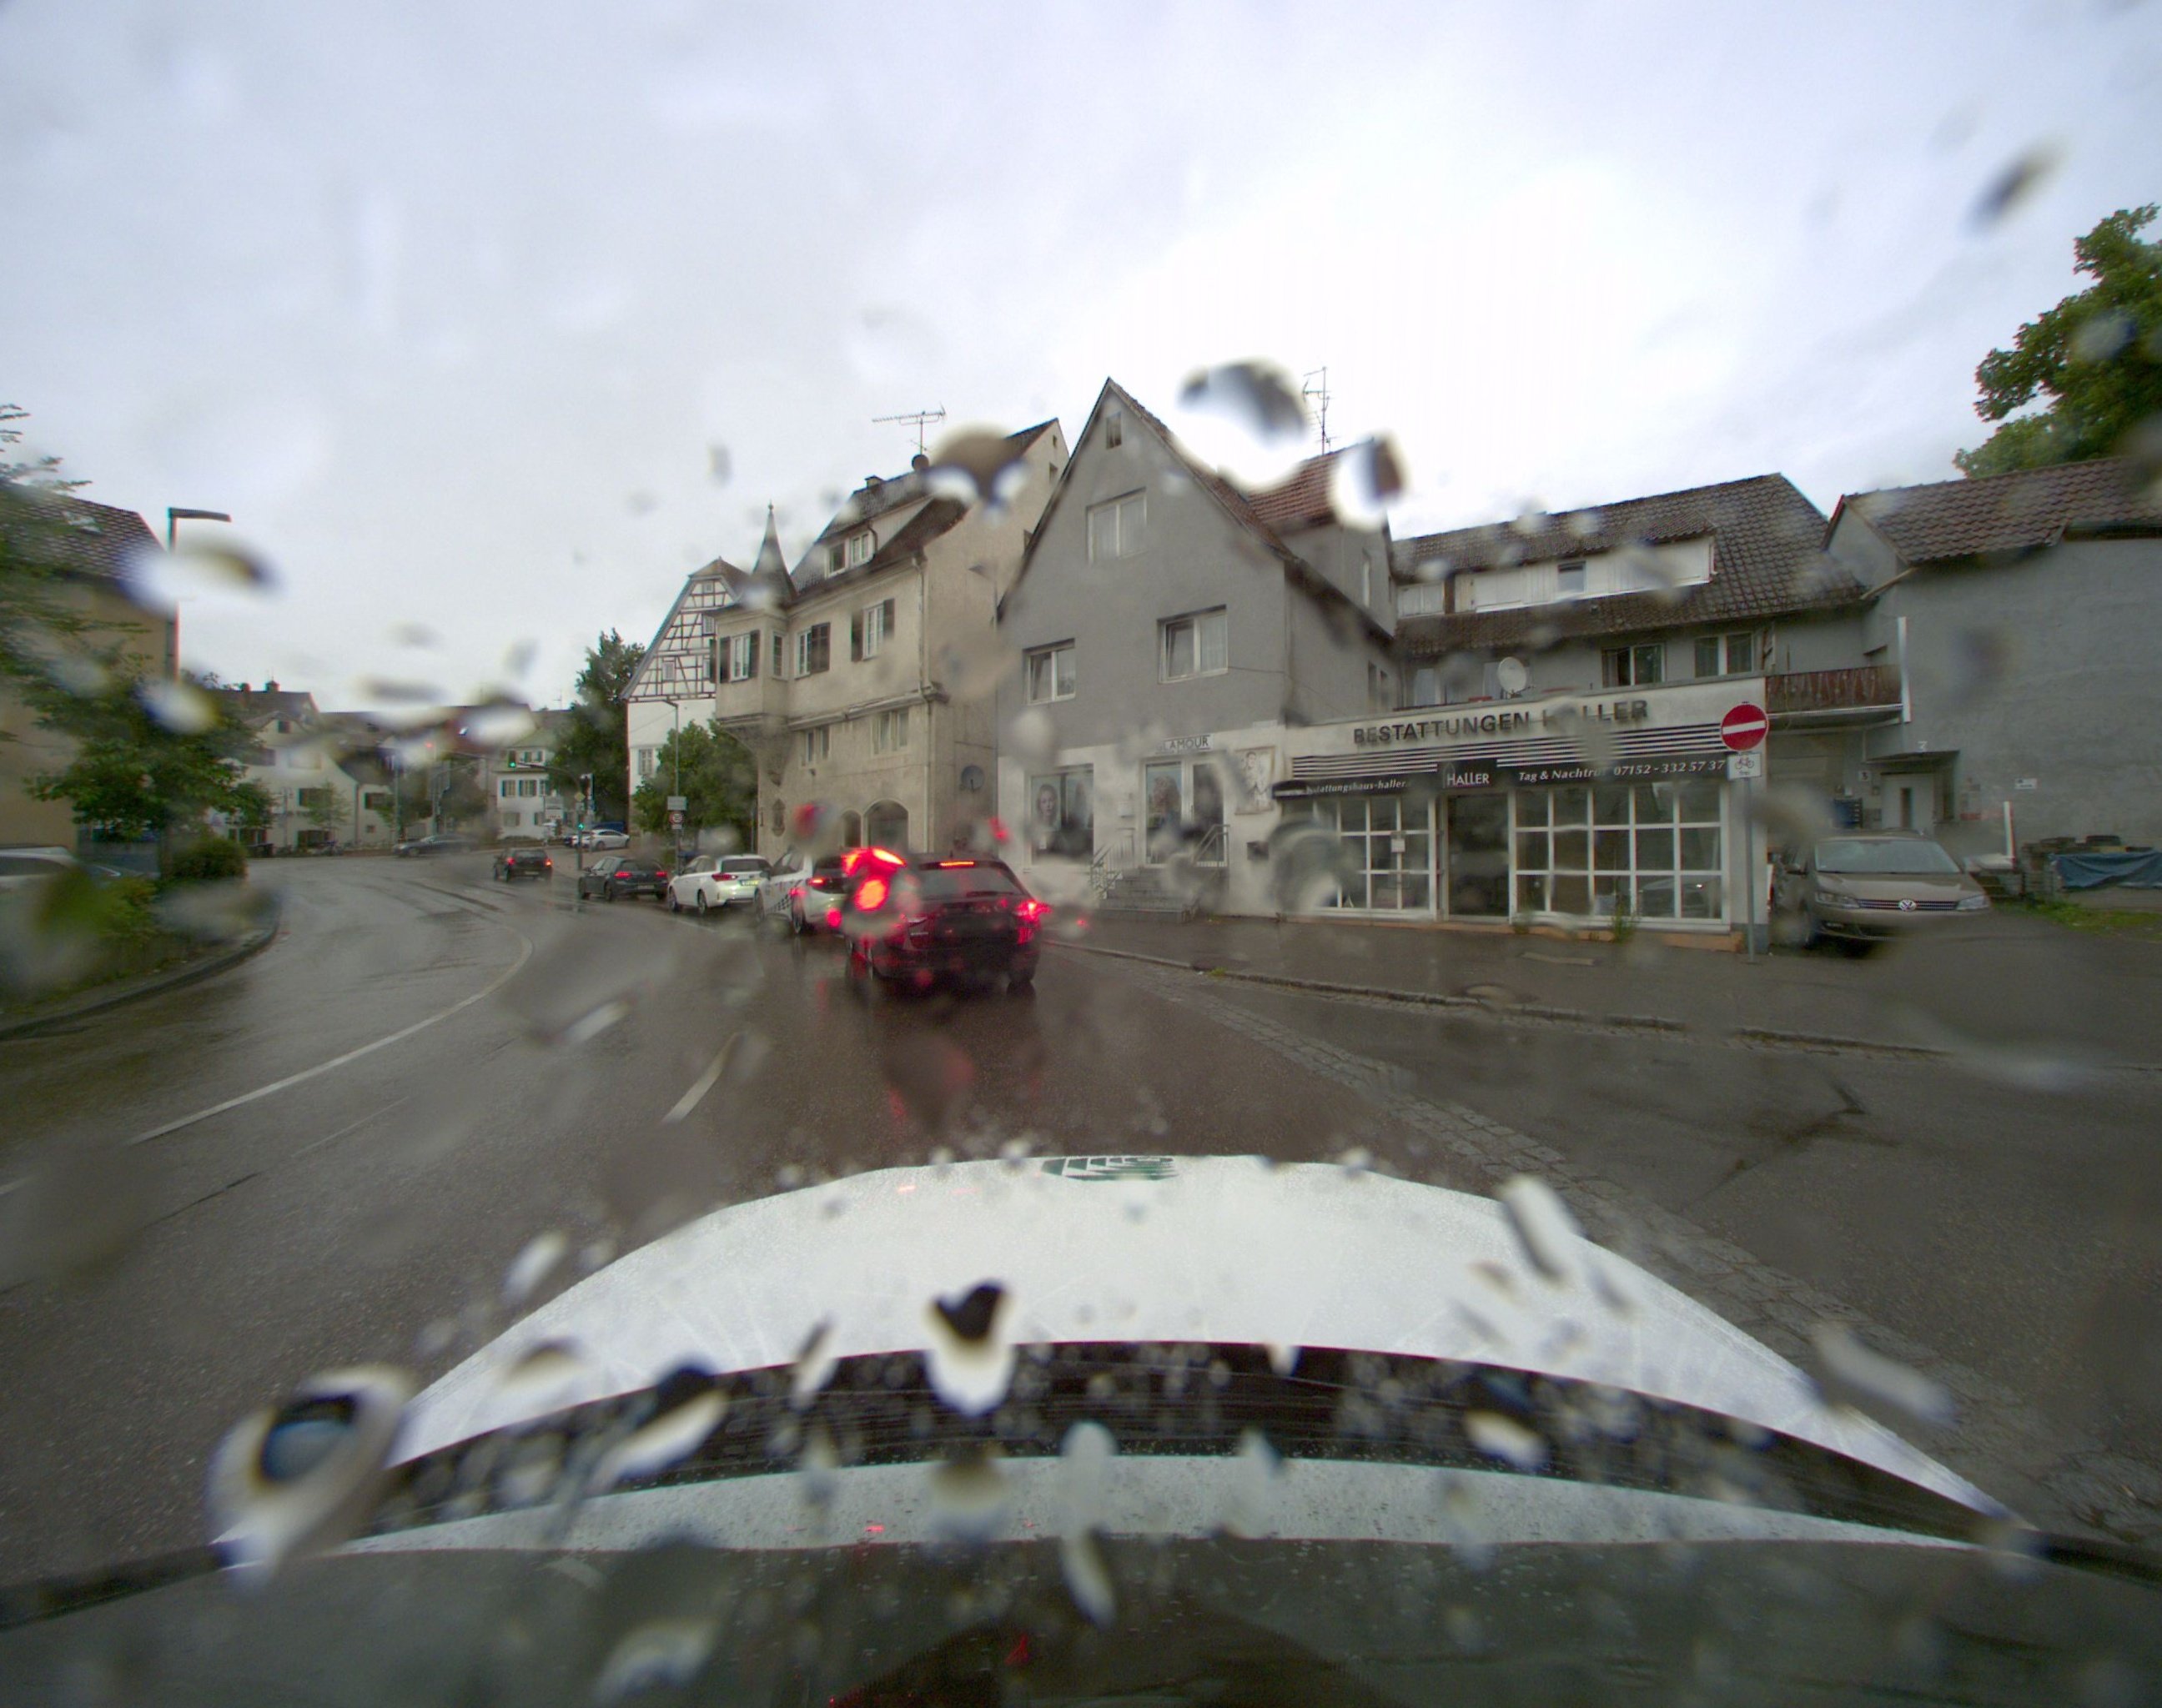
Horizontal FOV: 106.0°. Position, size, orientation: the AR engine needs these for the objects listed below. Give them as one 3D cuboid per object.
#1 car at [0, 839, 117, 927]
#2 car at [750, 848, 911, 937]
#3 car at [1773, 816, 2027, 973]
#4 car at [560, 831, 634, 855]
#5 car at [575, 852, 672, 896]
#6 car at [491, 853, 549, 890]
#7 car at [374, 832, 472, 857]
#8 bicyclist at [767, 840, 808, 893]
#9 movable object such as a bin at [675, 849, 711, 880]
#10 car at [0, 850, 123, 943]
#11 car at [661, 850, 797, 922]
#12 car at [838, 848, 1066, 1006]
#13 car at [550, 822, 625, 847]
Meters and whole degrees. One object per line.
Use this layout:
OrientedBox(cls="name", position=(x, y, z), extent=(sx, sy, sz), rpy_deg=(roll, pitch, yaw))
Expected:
OrientedBox(cls="car", position=(-26.120, 0.804, 18.507), extent=(1.938, 1.824, 4.966), rpy_deg=(2, 7, 26))
OrientedBox(cls="car", position=(-4.953, 0.630, 15.751), extent=(1.870, 1.473, 3.957), rpy_deg=(-1, 0, -35))
OrientedBox(cls="car", position=(11.653, 0.416, 11.936), extent=(1.974, 1.771, 4.027), rpy_deg=(0, 4, 36))
OrientedBox(cls="car", position=(-33.656, -0.747, 56.779), extent=(1.980, 1.586, 4.325), rpy_deg=(0, 0, 12))
OrientedBox(cls="car", position=(-15.242, 0.609, 27.046), extent=(2.011, 1.302, 3.952), rpy_deg=(-1, 0, -41))
OrientedBox(cls="car", position=(-25.026, 0.736, 36.283), extent=(1.597, 1.524, 3.390), rpy_deg=(-1, 0, -44))
OrientedBox(cls="car", position=(-41.948, -0.602, 52.030), extent=(1.839, 1.546, 4.523), rpy_deg=(-1, 0, 30))
OrientedBox(cls="bicyclist", position=(-8.634, 0.351, 23.949), extent=(1.017, 1.517, 0.690), rpy_deg=(1, 1, 40))
OrientedBox(cls="movable object such as a bin", position=(-16.947, 0.460, 35.547), extent=(1.164, 1.313, 1.172), rpy_deg=(0, 0, -40))
OrientedBox(cls="car", position=(-20.088, 0.752, 14.376), extent=(1.976, 1.629, 3.665), rpy_deg=(0, 0, 22))
OrientedBox(cls="car", position=(-8.896, 0.706, 20.403), extent=(1.901, 1.596, 4.274), rpy_deg=(-1, 0, -42))
OrientedBox(cls="car", position=(-1.802, 0.665, 9.911), extent=(1.894, 1.448, 4.326), rpy_deg=(0, 0, -21))
OrientedBox(cls="car", position=(-37.374, -1.462, 61.798), extent=(1.974, 1.881, 4.406), rpy_deg=(1, 1, 32))
